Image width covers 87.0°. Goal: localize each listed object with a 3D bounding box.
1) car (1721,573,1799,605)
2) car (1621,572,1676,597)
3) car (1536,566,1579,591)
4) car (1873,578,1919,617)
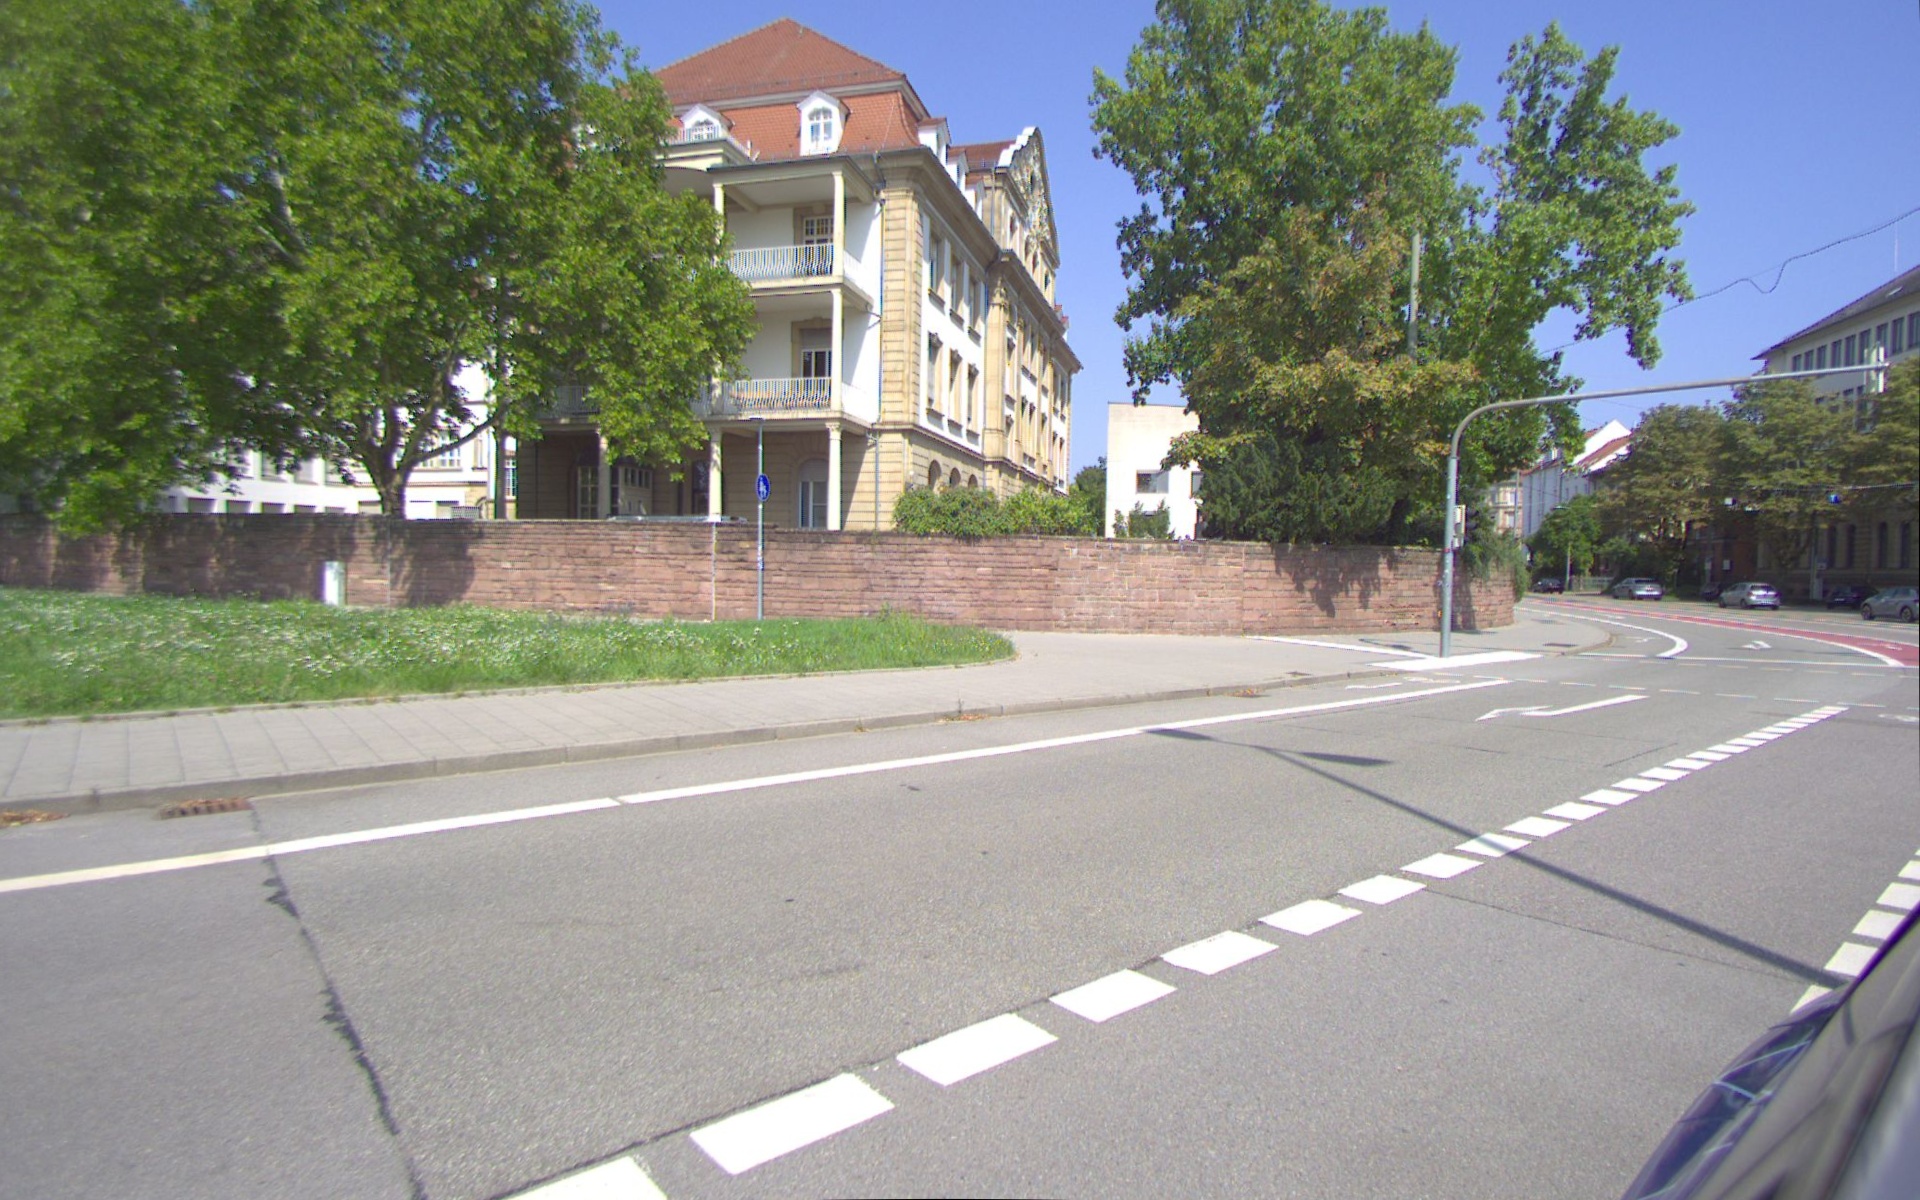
[{"bbox_3d":[44.984,-0.657,57.004,1.972,1.690,3.981,2,2,16],"label":"car"},{"bbox_3d":[49.241,-1.165,72.474,1.972,1.660,3.981,2,2,16],"label":"car"},{"bbox_3d":[54.148,-1.963,91.800,2.273,2.186,4.209,2,2,16],"label":"car"},{"bbox_3d":[41.309,-0.087,43.113,1.861,1.615,3.983,2,2,15],"label":"car"}]
